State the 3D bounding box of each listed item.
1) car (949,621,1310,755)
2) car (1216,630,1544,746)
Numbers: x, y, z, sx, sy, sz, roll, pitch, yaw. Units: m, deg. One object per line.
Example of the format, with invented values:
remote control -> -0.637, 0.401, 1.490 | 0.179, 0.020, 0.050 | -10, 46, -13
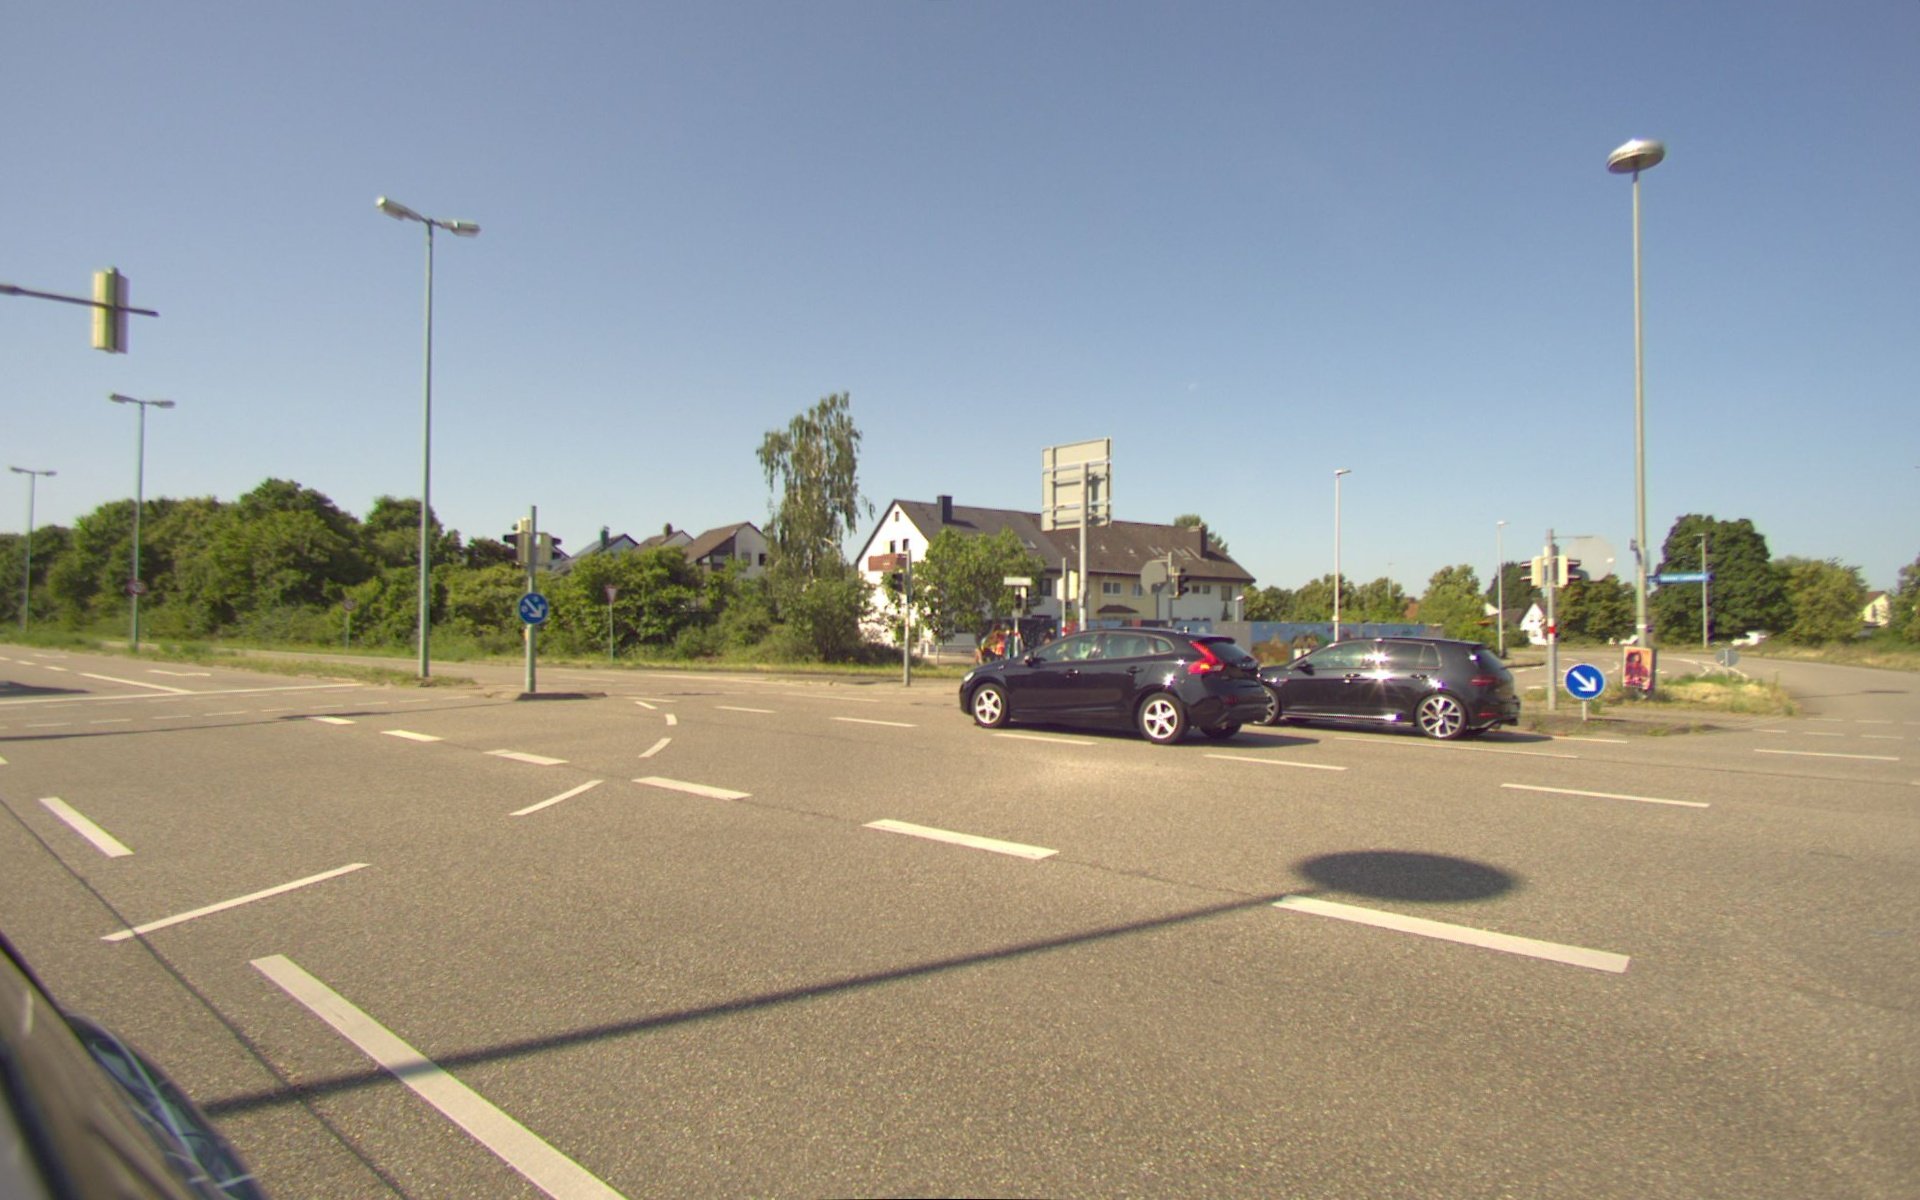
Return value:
car -> 2.112, 1.027, 13.357 | 4.330, 1.468, 1.960 | -1, -2, 41
car -> 6.224, 1.203, 15.238 | 4.225, 1.468, 1.866 | -1, -2, 40
